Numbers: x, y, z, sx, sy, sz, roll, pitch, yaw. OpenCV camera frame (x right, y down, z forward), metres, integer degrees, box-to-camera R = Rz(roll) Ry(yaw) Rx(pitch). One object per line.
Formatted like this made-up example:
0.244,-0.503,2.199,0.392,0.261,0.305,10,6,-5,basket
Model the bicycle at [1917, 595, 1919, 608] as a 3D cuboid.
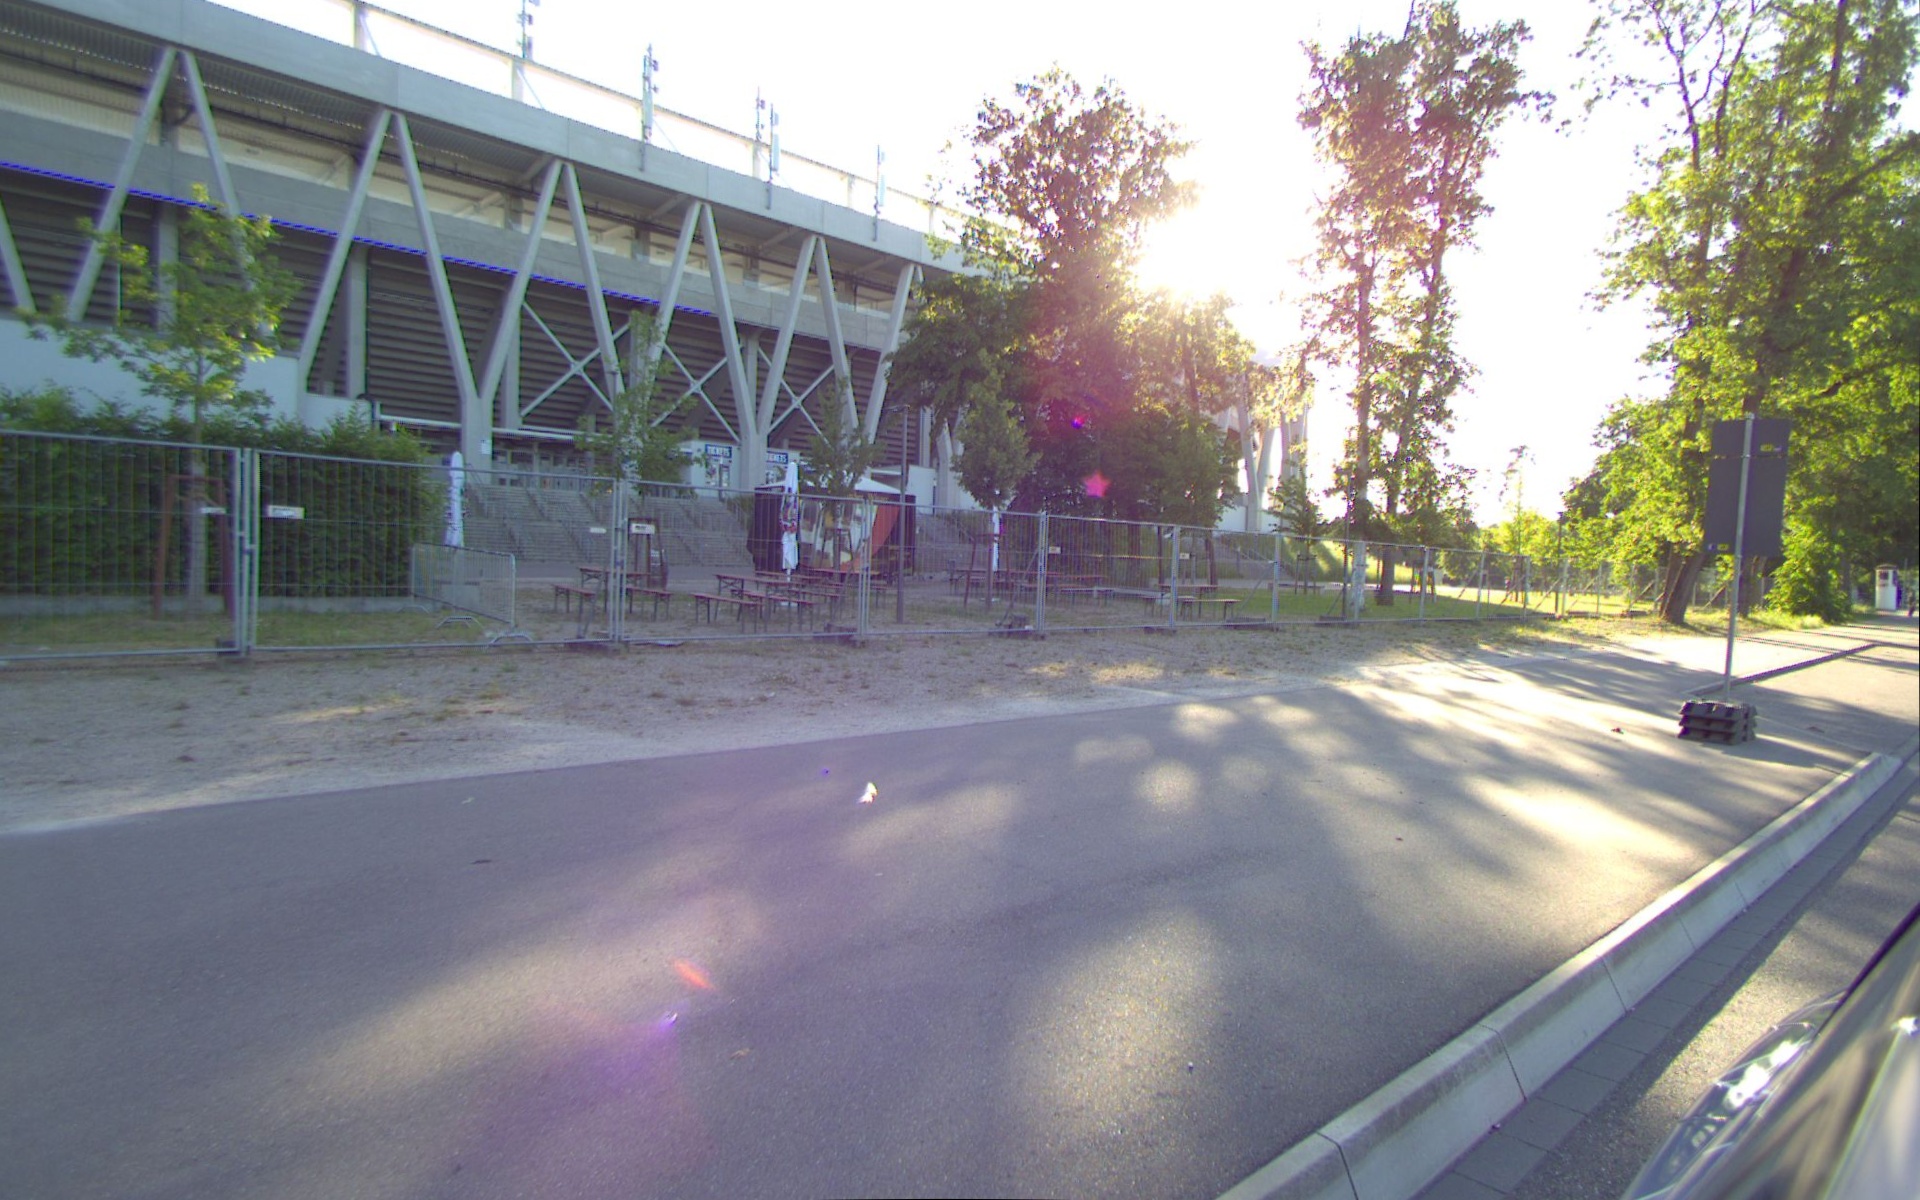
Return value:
65.834,0.118,69.132,1.876,0.869,0.481,0,2,-41,bicycle
